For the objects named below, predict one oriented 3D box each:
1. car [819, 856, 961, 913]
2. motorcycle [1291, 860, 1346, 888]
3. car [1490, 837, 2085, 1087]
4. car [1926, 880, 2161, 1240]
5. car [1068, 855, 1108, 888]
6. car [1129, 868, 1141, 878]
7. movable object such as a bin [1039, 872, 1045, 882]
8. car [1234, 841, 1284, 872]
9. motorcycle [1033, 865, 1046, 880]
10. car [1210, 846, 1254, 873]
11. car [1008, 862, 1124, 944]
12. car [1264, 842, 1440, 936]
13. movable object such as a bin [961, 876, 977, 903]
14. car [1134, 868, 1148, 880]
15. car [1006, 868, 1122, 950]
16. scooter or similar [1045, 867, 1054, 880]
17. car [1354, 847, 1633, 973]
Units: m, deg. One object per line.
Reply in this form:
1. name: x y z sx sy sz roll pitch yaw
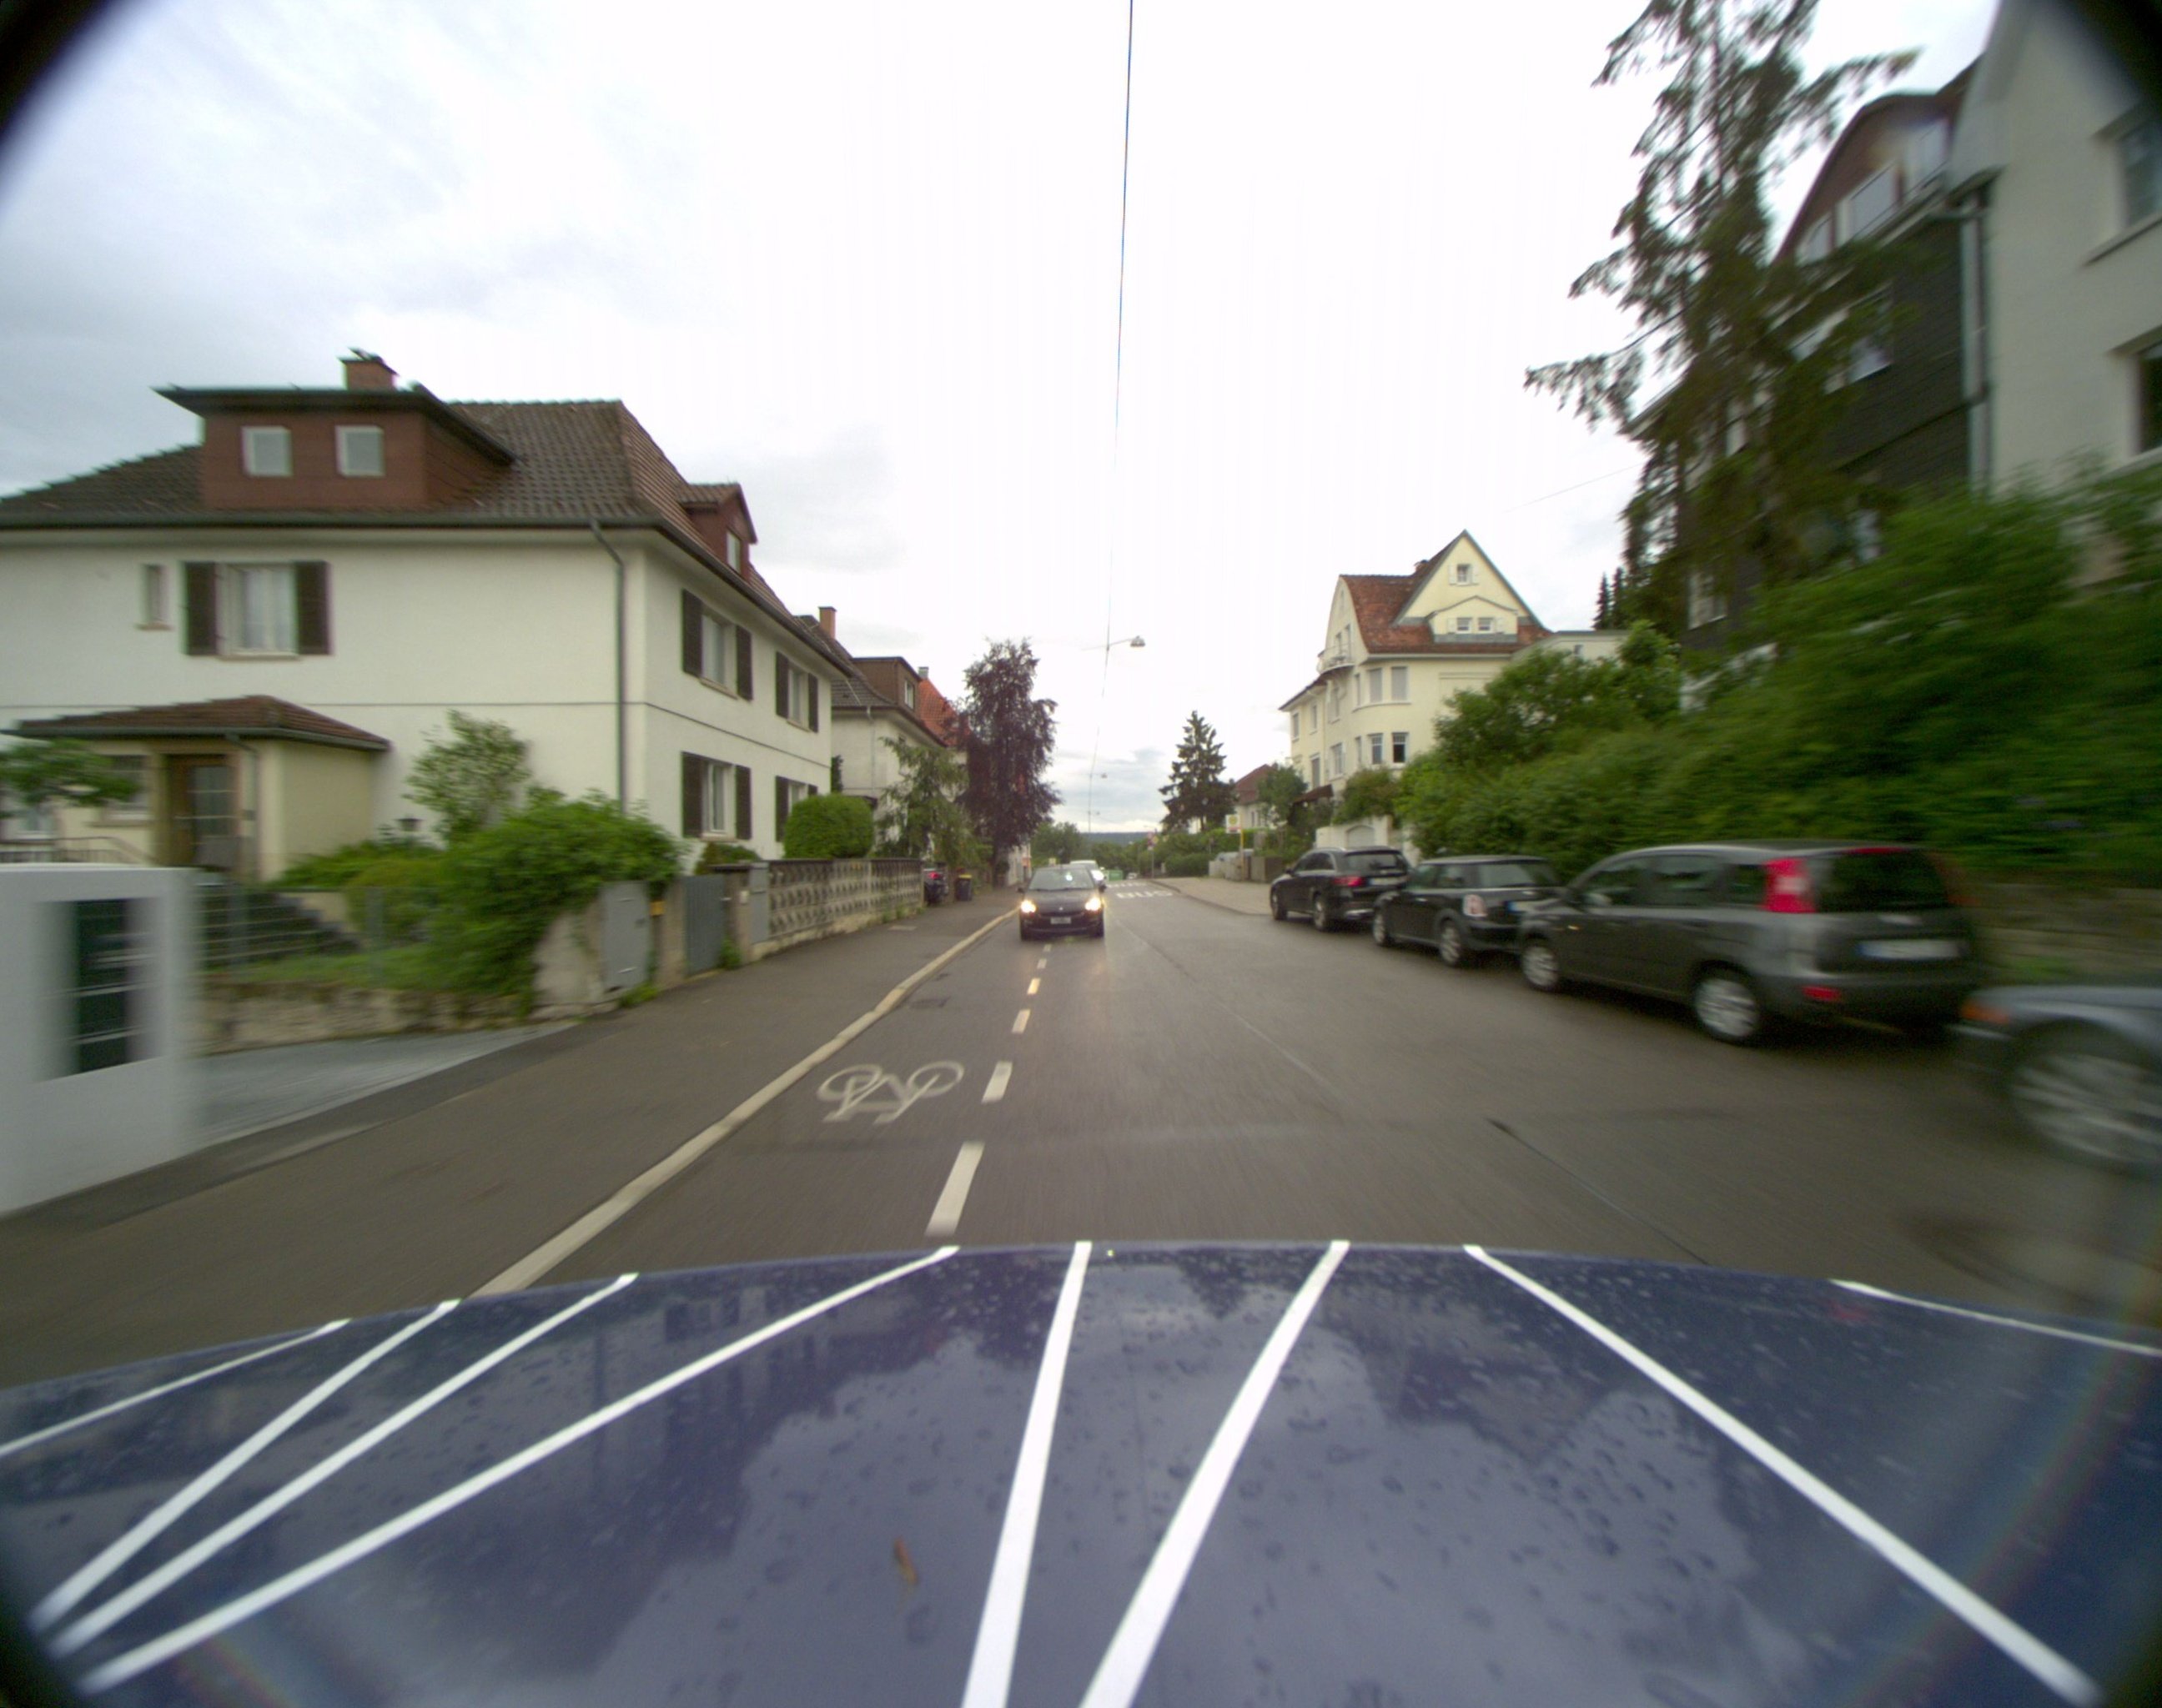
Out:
1. car: -6.027 0.965 24.322 3.997 1.630 1.919 -2 -1 0
2. motorcycle: 8.824 0.730 28.217 1.799 0.898 0.603 -4 1 0
3. car: 5.539 0.692 6.753 1.701 1.532 3.813 -2 0 0
4. car: 5.311 0.804 1.744 1.760 1.438 4.417 -2 -2 0
5. car: 0.375 0.918 39.888 1.928 1.577 4.001 -2 -1 0
6. car: 8.356 2.935 117.697 1.868 1.491 4.002 -2 -2 3
7. movable object such as a bin: -3.821 2.282 75.169 0.533 0.913 0.488 1 -1 -2
8. car: 10.475 0.192 45.039 1.770 1.686 4.000 -2 -1 -4
9. motorcycle: -3.606 1.630 65.862 0.694 1.218 2.154 5 -1 5
10. car: 9.727 0.369 49.207 1.770 1.608 4.000 -2 -1 -4
11. car: -0.182 0.956 16.303 1.710 1.414 4.003 -2 0 10
12. car: 5.377 0.638 15.781 1.898 1.613 4.377 -2 0 -3
13. movable object such as a bin: -4.030 1.256 27.286 0.495 0.950 0.503 -2 -1 -2
14. car: 8.220 2.732 104.557 1.594 1.482 3.439 -3 -2 1
15. car: -0.230 1.102 16.287 1.695 1.482 3.944 -3 -2 10
16. scooter or similar: -3.645 2.220 87.372 0.355 1.394 1.481 -2 -1 25
17. car: 5.580 0.718 10.932 1.898 1.438 3.815 -2 -1 0
